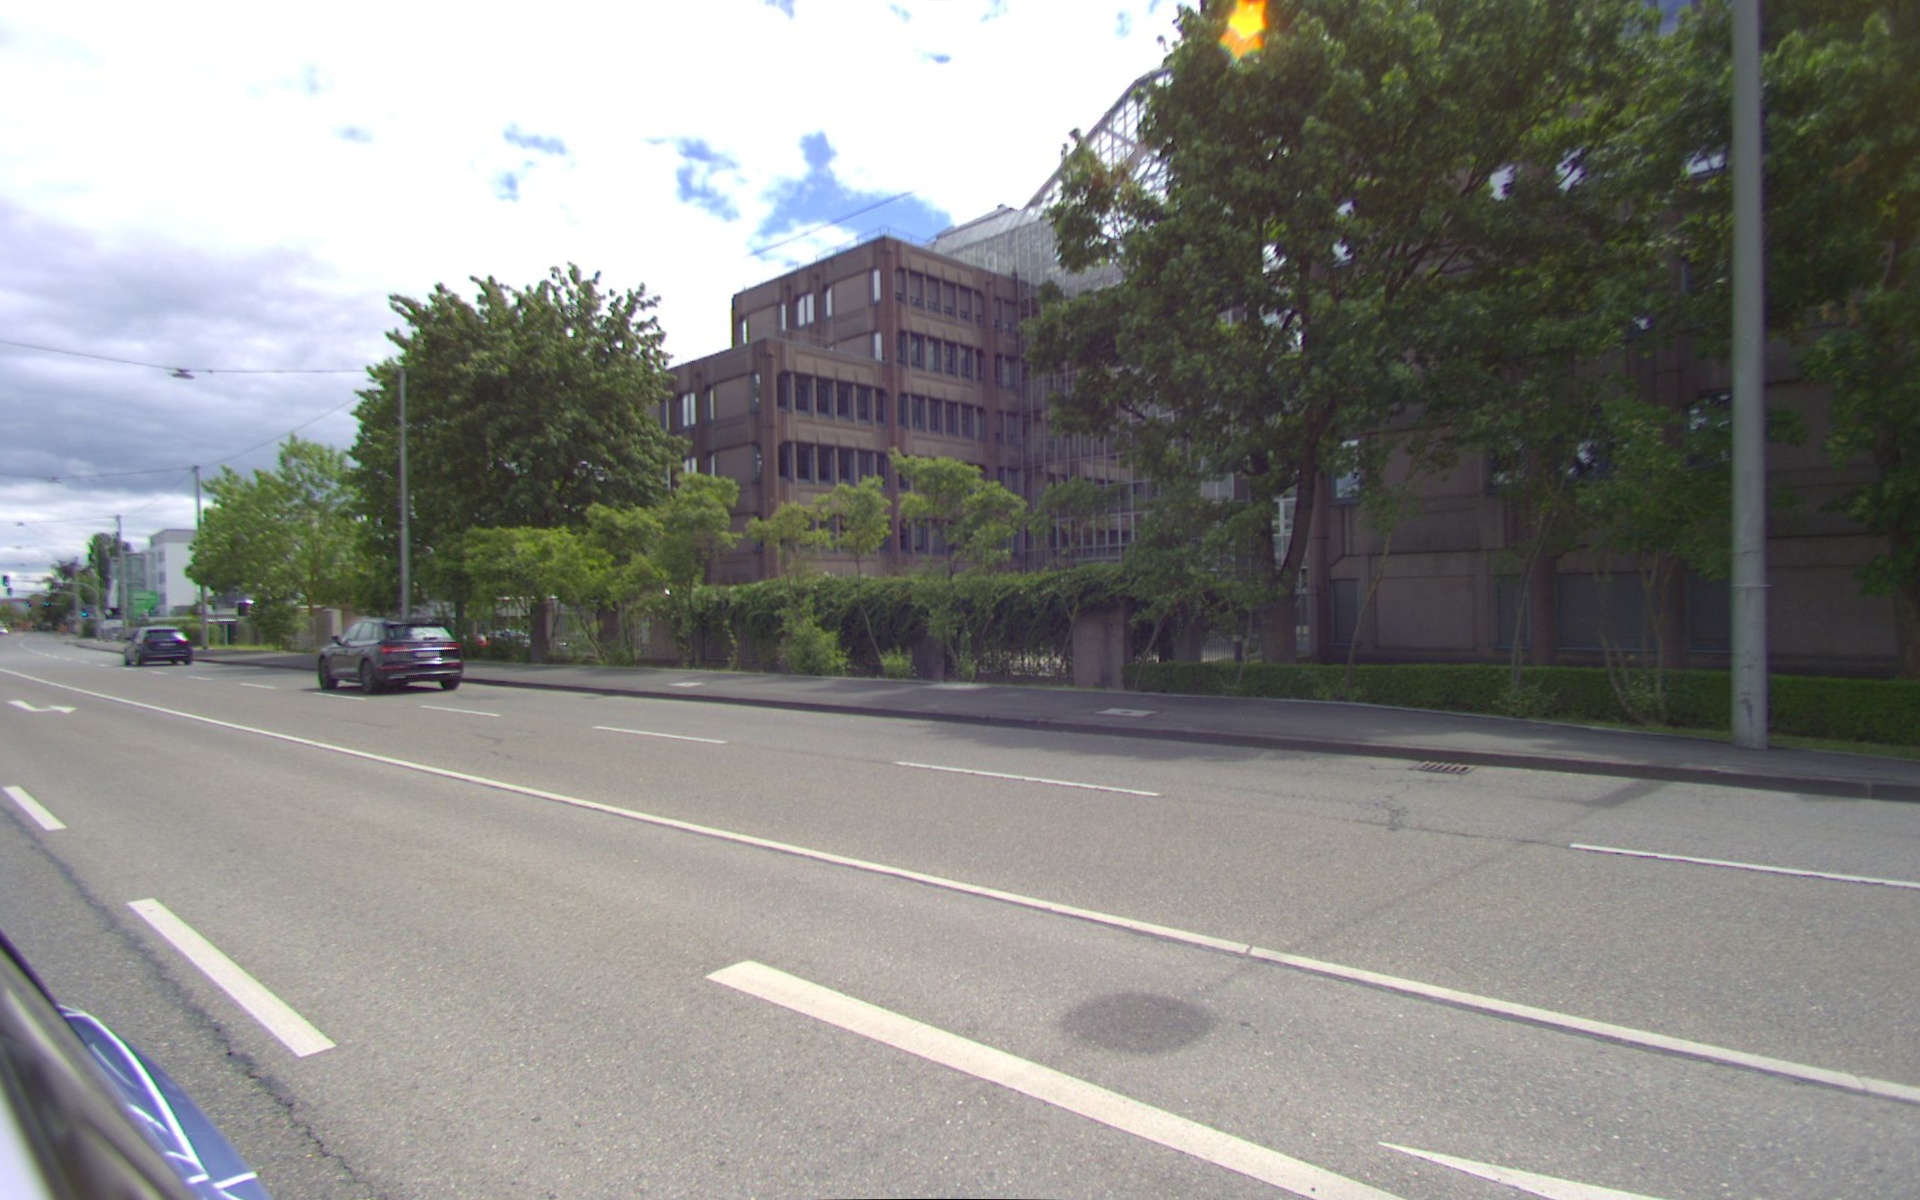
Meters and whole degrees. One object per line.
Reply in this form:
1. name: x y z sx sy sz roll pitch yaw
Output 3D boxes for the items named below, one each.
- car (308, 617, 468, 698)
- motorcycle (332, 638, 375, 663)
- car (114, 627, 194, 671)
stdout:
1. car: -13.068 1.217 22.989 4.571 1.627 1.847 -1 0 42
2. motorcycle: -33.163 2.761 55.326 0.745 1.254 1.881 -1 0 41
3. car: -32.617 1.937 40.924 4.311 1.597 1.778 -1 1 41
